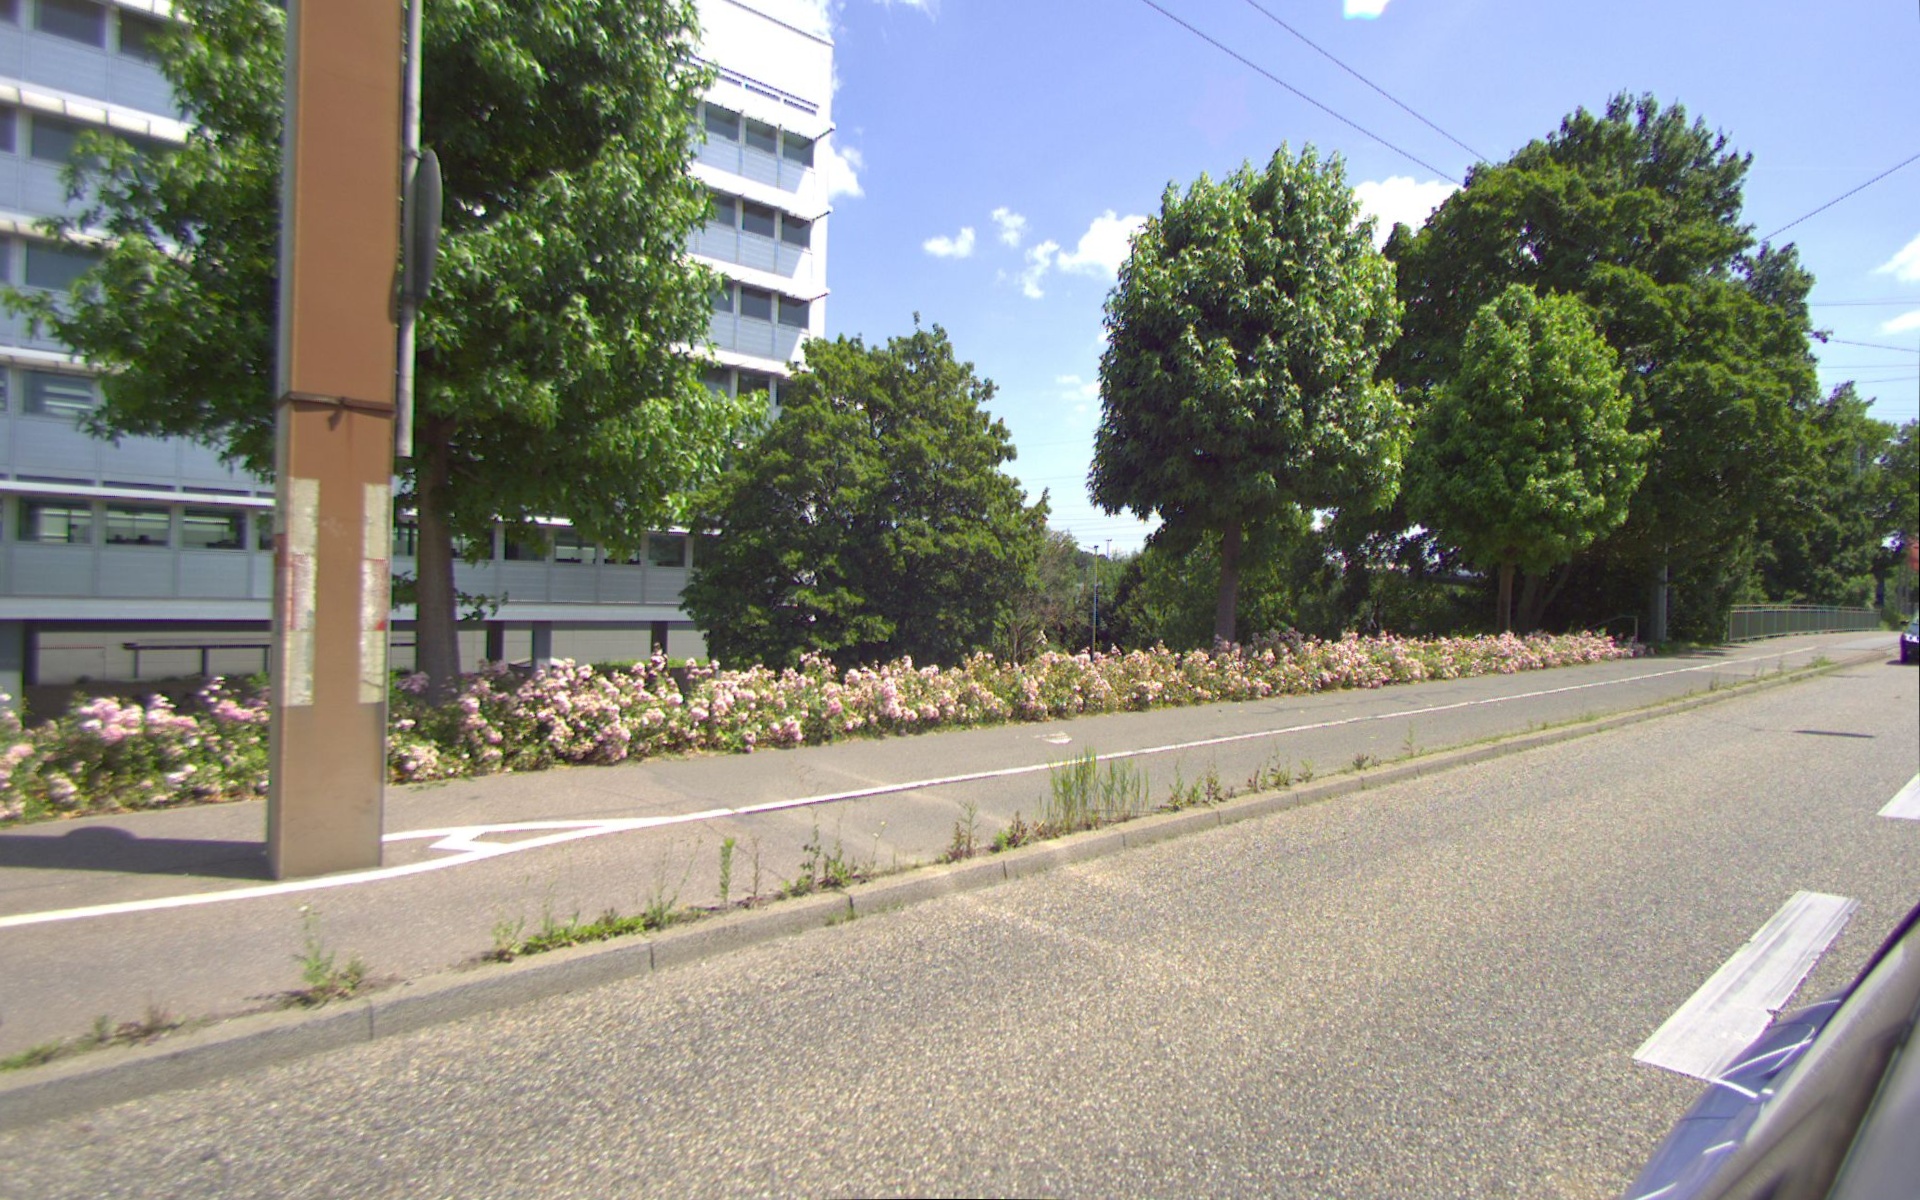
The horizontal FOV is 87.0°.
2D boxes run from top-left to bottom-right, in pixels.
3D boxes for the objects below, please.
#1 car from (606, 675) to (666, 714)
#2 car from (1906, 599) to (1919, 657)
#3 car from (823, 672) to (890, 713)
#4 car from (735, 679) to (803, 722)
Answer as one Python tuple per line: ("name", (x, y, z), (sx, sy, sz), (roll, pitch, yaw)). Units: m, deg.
("car", (-13.689, 3.933, 42.676), (1.431, 1.302, 3.374), (0, 0, -36))
("car", (25.912, 0.733, 26.156), (3.930, 1.449, 1.769), (1, 0, -42))
("car", (-5.005, 4.413, 48.616), (1.565, 1.612, 3.372), (3, 0, -39))
("car", (-8.481, 4.432, 44.824), (1.517, 1.536, 3.371), (0, 0, -39))
